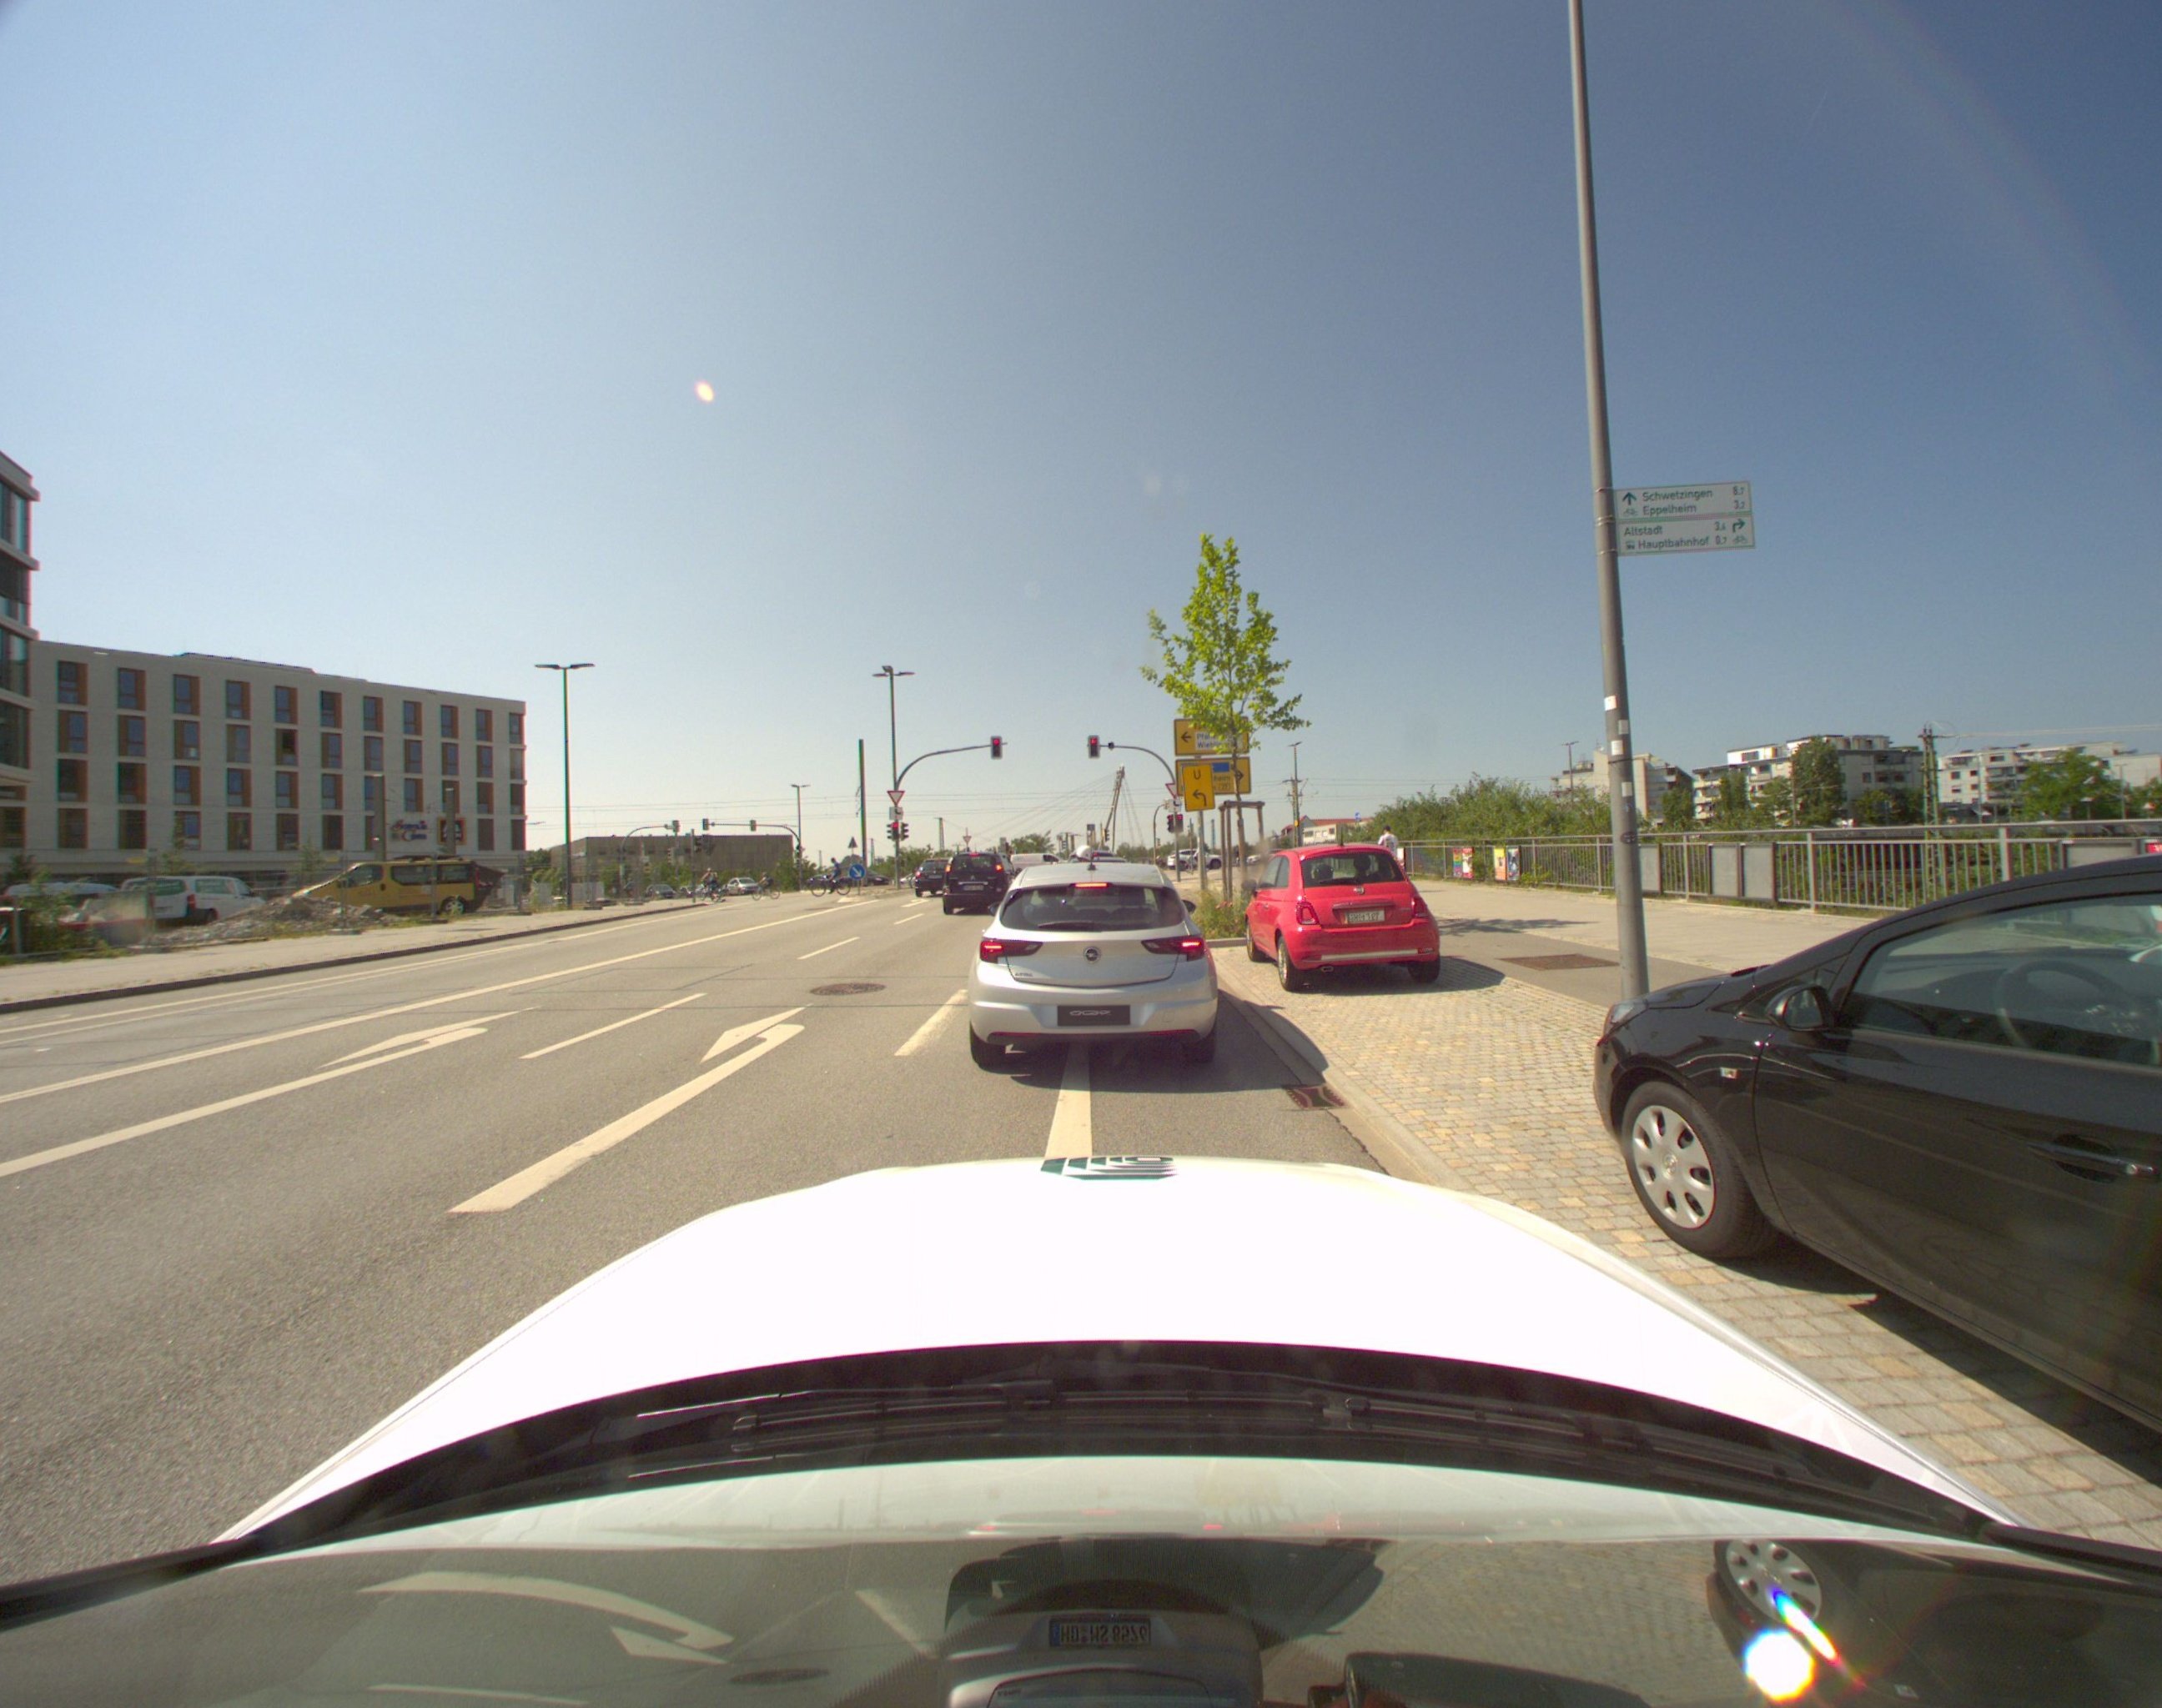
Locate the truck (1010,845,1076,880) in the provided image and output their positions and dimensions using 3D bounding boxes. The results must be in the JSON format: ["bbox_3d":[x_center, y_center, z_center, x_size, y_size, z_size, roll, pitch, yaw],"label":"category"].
[{"bbox_3d":[-2.737,0.640,59.905,4.674,2.541,2.001,0,-1,2],"label":"truck"}]

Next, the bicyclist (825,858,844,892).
[{"bbox_3d":[-11.622,0.993,38.431,0.824,1.560,0.858,0,-1,-16],"label":"bicyclist"}]

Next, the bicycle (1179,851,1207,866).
[{"bbox_3d":[7.870,0.330,57.199,1.861,1.068,0.577,0,-1,-1],"label":"bicycle"}]

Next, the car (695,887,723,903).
[{"bbox_3d":[-36.223,3.958,79.258,1.595,1.439,3.115,1,-1,-43],"label":"car"}]

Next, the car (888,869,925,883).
[{"bbox_3d":[-17.164,2.143,80.038,3.183,1.304,1.532,-2,-1,24],"label":"car"}]

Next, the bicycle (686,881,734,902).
[{"bbox_3d":[-18.021,1.831,39.525,2.482,1.007,0.609,-1,-1,24],"label":"bicycle"}]

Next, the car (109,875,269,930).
[{"bbox_3d":[-31.081,1.624,28.590,2.003,1.707,4.526,0,-1,-23],"label":"car"}]

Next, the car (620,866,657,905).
[{"bbox_3d":[-24.116,1.653,44.469,1.679,2.014,3.964,0,-1,-28],"label":"car"}]

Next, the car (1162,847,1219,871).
[{"bbox_3d":[8.454,0.385,63.093,4.024,1.815,1.929,-1,-1,-3],"label":"car"}]

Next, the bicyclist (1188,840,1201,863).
[{"bbox_3d":[7.950,-0.189,57.277,0.769,1.610,0.948,0,-1,-1],"label":"bicyclist"}]

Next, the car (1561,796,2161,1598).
[{"bbox_3d":[2.876,0.641,1.737,1.576,1.555,3.548,-4,0,1],"label":"car"}]

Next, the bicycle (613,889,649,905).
[{"bbox_3d":[-33.373,3.182,60.440,2.333,1.133,0.631,-1,-1,-30],"label":"bicycle"}]

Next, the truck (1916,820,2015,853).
[{"bbox_3d":[89.500,-1.687,82.404,9.890,3.158,2.492,0,-1,-15],"label":"truck"}]

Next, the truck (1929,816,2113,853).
[{"bbox_3d":[88.478,-1.746,76.628,17.857,3.204,3.723,0,-1,-14],"label":"truck"}]

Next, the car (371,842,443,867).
[{"bbox_3d":[-54.351,0.070,65.765,3.990,2.014,1.991,0,-1,-12],"label":"car"}]

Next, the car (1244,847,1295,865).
[{"bbox_3d":[17.793,0.176,76.985,4.254,1.673,1.989,-1,-1,-16],"label":"car"}]

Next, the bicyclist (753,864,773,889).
[{"bbox_3d":[-15.209,1.084,38.971,0.654,1.175,0.731,0,-1,3],"label":"bicyclist"}]

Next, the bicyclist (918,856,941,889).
[{"bbox_3d":[-7.260,0.871,39.011,0.942,1.569,0.822,0,-1,-1],"label":"bicyclist"}]

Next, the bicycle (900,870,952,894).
[{"bbox_3d":[-7.393,1.313,38.996,2.351,1.127,0.677,0,-1,-2],"label":"bicycle"}]

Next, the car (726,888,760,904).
[{"bbox_3d":[-29.243,3.620,70.565,2.476,1.240,1.275,-1,-1,-10],"label":"car"}]

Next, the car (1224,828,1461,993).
[{"bbox_3d":[2.951,0.565,10.073,1.663,1.540,3.917,-3,0,1],"label":"car"}]

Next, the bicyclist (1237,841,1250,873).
[{"bbox_3d":[9.496,0.182,47.582,0.628,1.887,0.599,-1,-1,29],"label":"bicyclist"}]

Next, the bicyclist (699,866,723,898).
[{"bbox_3d":[-17.943,1.341,39.509,0.651,1.502,0.848,-1,-1,24],"label":"bicyclist"}]

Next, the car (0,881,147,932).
[{"bbox_3d":[-33.763,1.683,27.309,1.809,1.508,3.965,0,-1,-27],"label":"car"}]

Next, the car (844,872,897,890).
[{"bbox_3d":[-16.260,2.071,62.822,3.740,1.390,1.675,-1,-1,25],"label":"car"}]

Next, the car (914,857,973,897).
[{"bbox_3d":[-5.218,0.864,31.164,1.581,1.395,3.340,-1,-1,1],"label":"car"}]

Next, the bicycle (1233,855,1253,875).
[{"bbox_3d":[9.467,0.642,47.536,0.548,1.178,2.100,0,0,29],"label":"bicycle"}]

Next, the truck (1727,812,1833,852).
[{"bbox_3d":[59.051,-1.780,68.901,6.478,3.204,3.721,0,-1,-14],"label":"truck"}]

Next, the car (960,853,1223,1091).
[{"bbox_3d":[0.116,0.777,7.427,1.685,1.520,4.271,-1,0,1],"label":"car"}]

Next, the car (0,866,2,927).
[{"bbox_3d":[-36.274,1.399,25.006,2.220,2.056,4.133,0,-1,-28],"label":"car"}]

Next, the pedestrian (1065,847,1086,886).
[{"bbox_3d":[-0.256,0.623,39.723,0.745,1.863,0.745,1,-2,-36],"label":"pedestrian"}]

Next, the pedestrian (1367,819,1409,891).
[{"bbox_3d":[7.954,0.041,21.103,0.755,1.830,0.885,0,-1,1],"label":"pedestrian"}]

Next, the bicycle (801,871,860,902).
[{"bbox_3d":[-11.764,1.533,38.348,2.530,1.134,0.724,-6,2,-16],"label":"bicycle"}]

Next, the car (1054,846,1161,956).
[{"bbox_3d":[0.440,0.744,14.276,1.629,1.674,3.745,0,-1,1],"label":"car"}]

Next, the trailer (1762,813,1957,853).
[{"bbox_3d":[68.068,-1.775,71.208,17.225,3.204,3.723,0,-1,-14],"label":"trailer"}]

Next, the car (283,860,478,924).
[{"bbox_3d":[-22.640,1.148,26.471,1.974,1.890,4.514,-1,-1,40],"label":"car"}]

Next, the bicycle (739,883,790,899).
[{"bbox_3d":[-15.142,1.752,38.952,2.237,0.692,0.516,-1,-1,2],"label":"bicycle"}]

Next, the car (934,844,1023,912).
[{"bbox_3d":[-2.678,0.635,22.174,1.797,1.622,3.917,-2,-1,1],"label":"car"}]

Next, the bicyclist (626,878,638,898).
[{"bbox_3d":[-33.334,2.516,60.479,0.723,1.504,0.816,0,-1,-29],"label":"bicyclist"}]
